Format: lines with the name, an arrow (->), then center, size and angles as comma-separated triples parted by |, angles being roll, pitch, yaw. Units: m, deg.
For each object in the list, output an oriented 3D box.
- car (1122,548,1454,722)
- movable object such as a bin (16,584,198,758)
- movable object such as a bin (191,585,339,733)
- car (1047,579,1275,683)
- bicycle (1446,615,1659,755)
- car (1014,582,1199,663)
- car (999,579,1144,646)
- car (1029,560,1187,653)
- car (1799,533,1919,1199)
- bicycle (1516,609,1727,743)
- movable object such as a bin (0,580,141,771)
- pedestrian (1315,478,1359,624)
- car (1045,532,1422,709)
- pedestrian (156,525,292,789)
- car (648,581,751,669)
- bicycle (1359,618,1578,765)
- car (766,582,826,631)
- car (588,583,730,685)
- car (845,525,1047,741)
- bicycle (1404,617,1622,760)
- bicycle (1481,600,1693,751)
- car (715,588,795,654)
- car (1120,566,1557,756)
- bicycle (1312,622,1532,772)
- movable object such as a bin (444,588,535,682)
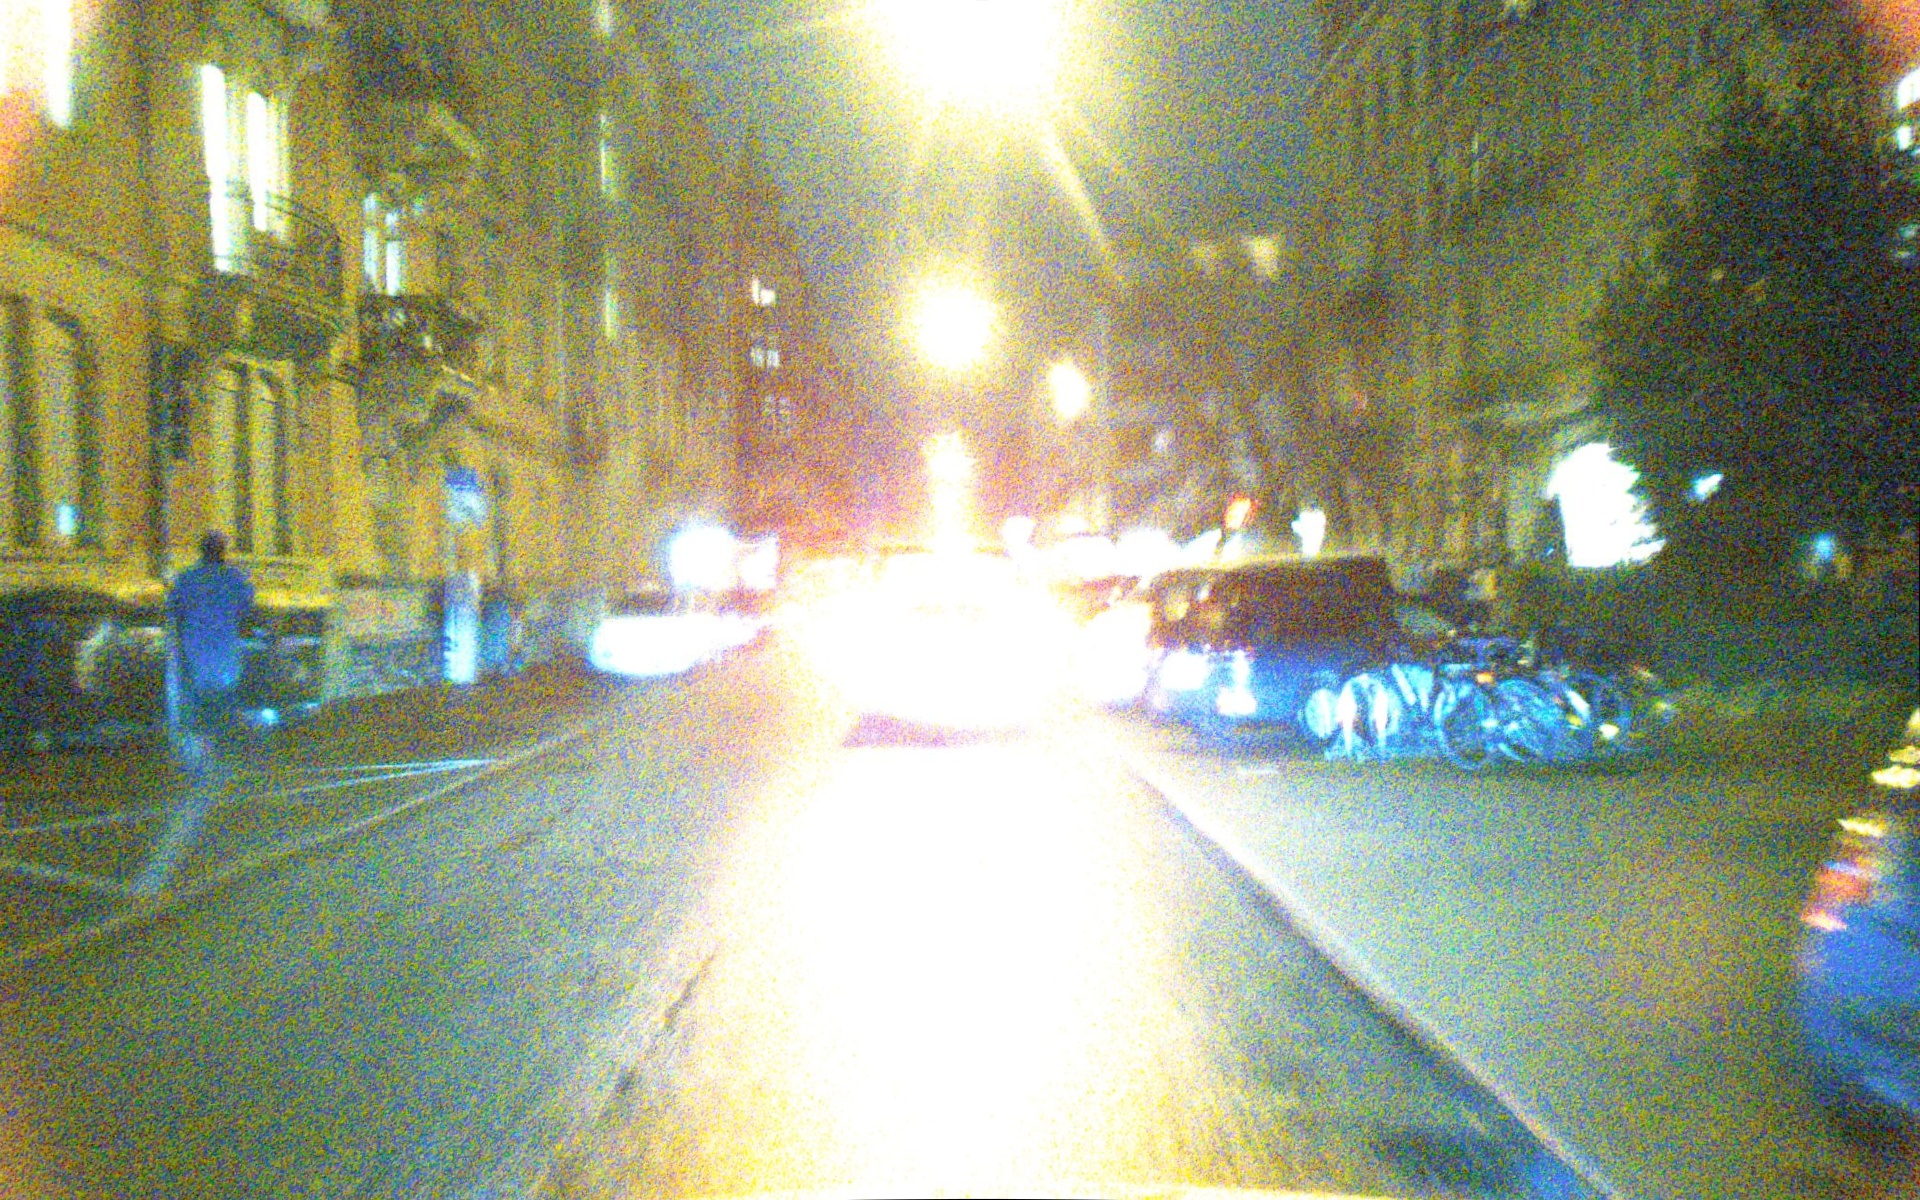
car -> 3.784, 0.354, 18.985 | 3.517, 1.741, 1.630 | -2, 0, -30
movable object such as a bin -> -7.484, 0.601, 14.570 | 0.954, 1.444, 1.133 | 2, 0, 2
movable object such as a bin -> -7.005, 0.571, 16.727 | 0.954, 1.423, 1.133 | 2, 0, 2
car -> 3.347, 0.481, 27.373 | 3.527, 1.510, 1.704 | -3, 0, -37
bicycle -> 4.998, 0.686, 14.066 | 0.441, 1.094, 1.808 | -2, 0, -31
car -> 3.013, 0.440, 33.740 | 3.526, 1.478, 1.651 | -3, 0, -36
car -> 2.856, 0.320, 41.995 | 3.528, 1.618, 1.584 | 0, -1, -38
car -> 3.508, 0.132, 38.881 | 3.529, 2.025, 1.584 | -3, 0, -38
car -> 4.038, 0.552, 4.551 | 3.613, 1.608, 1.572 | -3, 0, -36
bicycle -> 5.781, 0.637, 14.559 | 0.441, 1.094, 1.808 | -2, 0, -31
movable object such as a bin -> -7.387, 0.577, 13.331 | 0.954, 1.444, 1.133 | 2, 0, 2
pedestrian -> 9.364, -1.204, 41.096 | 0.873, 3.589, 0.791 | 0, 0, -1
car -> 3.618, 0.216, 21.630 | 4.737, 2.084, 2.044 | -1, 1, -32
pedestrian -> -5.380, 0.405, 12.129 | 0.579, 1.852, 0.795 | 2, 0, -1
car -> -4.980, 0.448, 32.042 | 1.622, 1.584, 4.073 | 1, 0, -4
bicycle -> 4.113, 0.706, 13.513 | 0.513, 1.094, 1.808 | -2, 0, -31
car -> -6.025, 0.221, 61.291 | 1.845, 1.714, 3.999 | 1, 0, -1
car -> -4.748, 0.497, 26.565 | 1.554, 1.508, 3.793 | 1, 0, 0
car -> -0.154, 0.331, 17.987 | 1.953, 2.086, 3.999 | 0, 0, -1
bicycle -> 4.574, 0.700, 13.806 | 0.513, 1.094, 1.808 | -2, 0, -31
bicycle -> 5.389, 0.620, 14.323 | 0.441, 1.212, 1.808 | -2, 0, -31
car -> -5.142, 0.497, 41.859 | 1.777, 1.584, 4.073 | 1, 0, -4
car -> 3.675, 0.519, 15.963 | 3.942, 1.518, 1.718 | -3, 0, -28
bicycle -> 3.650, 0.733, 13.211 | 0.513, 1.094, 1.808 | -2, 0, -31
movable object such as a bin -> -7.370, 0.532, 25.955 | 1.026, 1.423, 1.158 | 2, 0, 2
